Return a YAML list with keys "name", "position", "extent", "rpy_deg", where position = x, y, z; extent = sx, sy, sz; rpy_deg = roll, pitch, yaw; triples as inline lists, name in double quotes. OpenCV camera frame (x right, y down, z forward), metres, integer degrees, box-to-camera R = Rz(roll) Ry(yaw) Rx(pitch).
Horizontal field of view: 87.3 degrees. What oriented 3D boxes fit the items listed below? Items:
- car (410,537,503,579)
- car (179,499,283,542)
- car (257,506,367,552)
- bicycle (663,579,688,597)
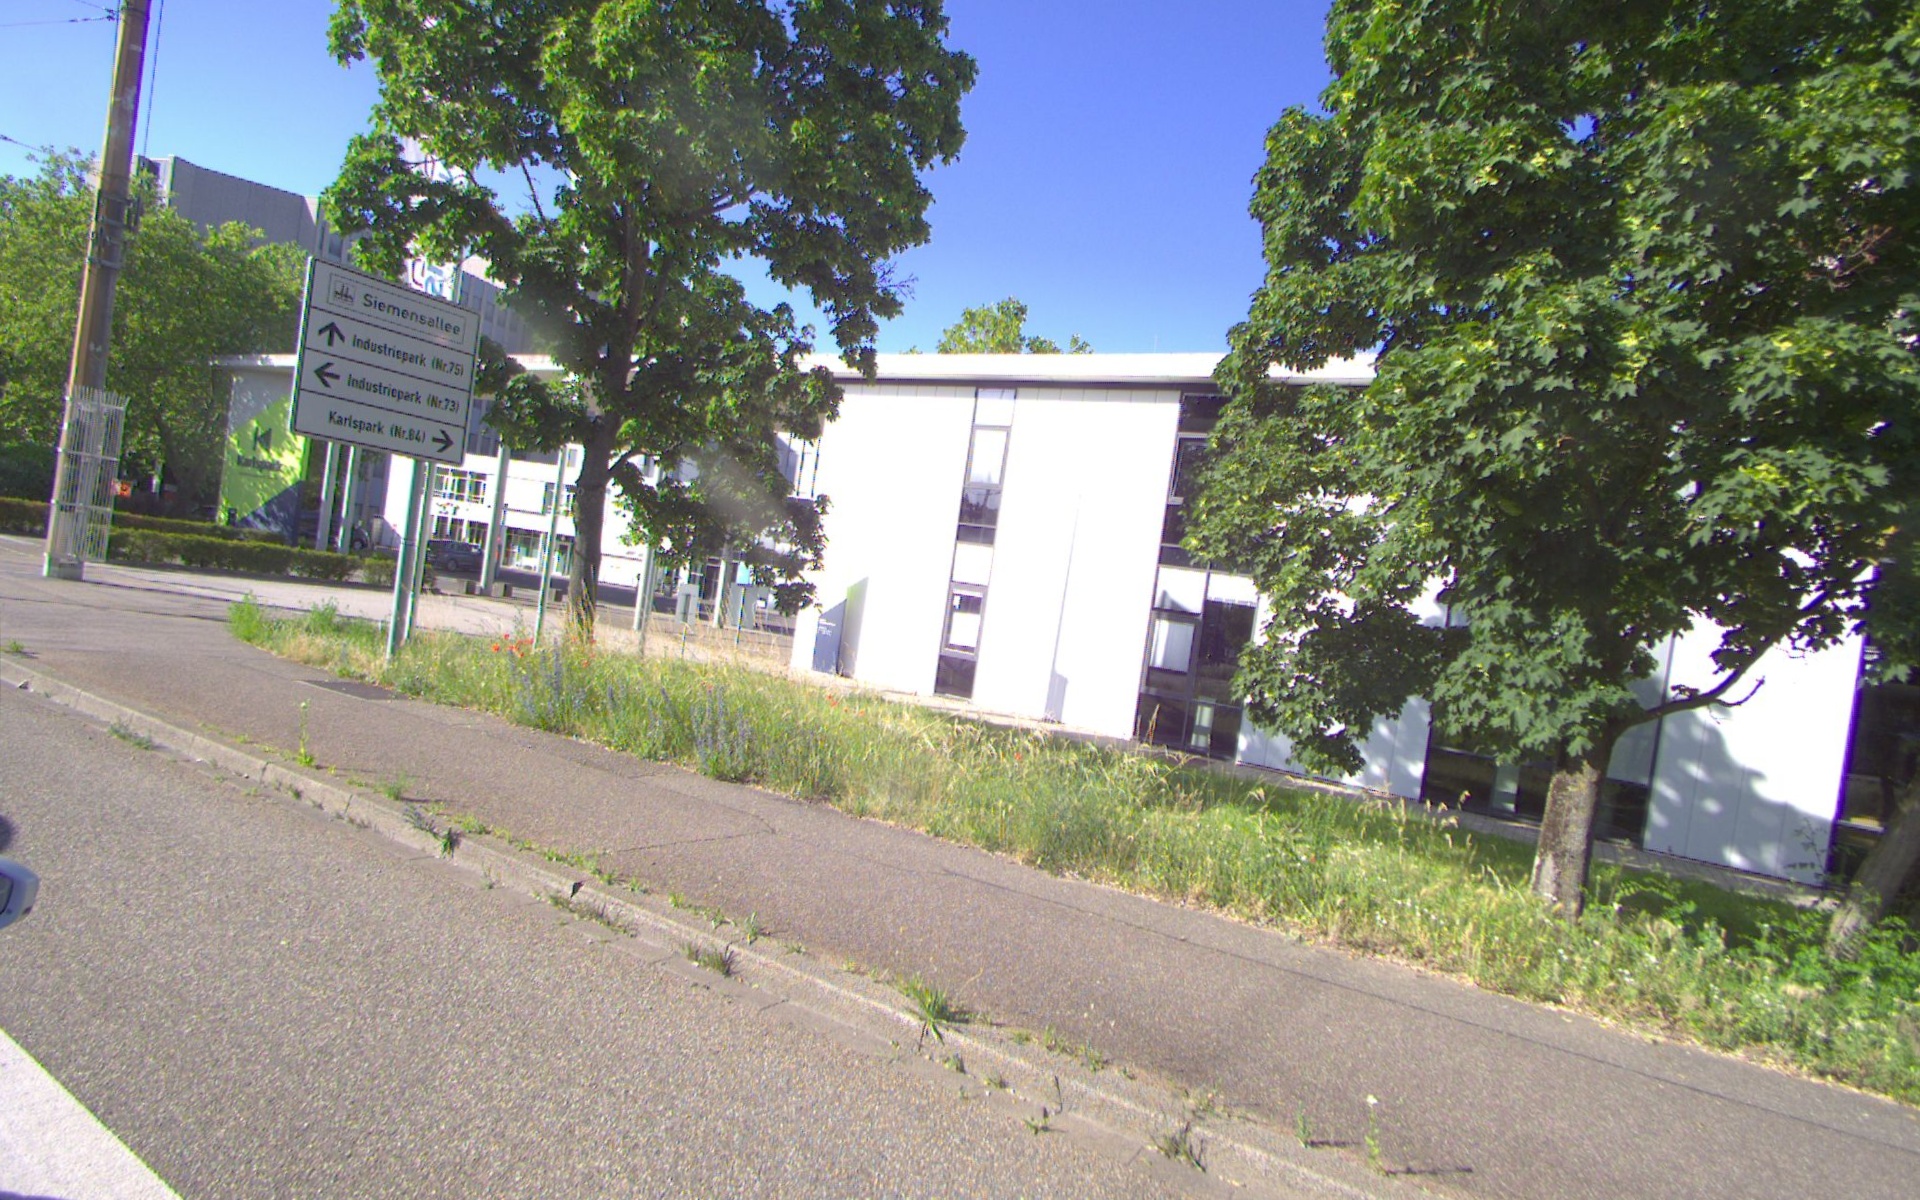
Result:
- name: "car"
  position: [-26.679, -2.208, 53.448]
  extent: [1.918, 1.597, 4.000]
  rpy_deg: [8, -1, 23]
- name: "car"
  position: [-42.656, -4.638, 58.965]
  extent: [1.861, 1.706, 4.468]
  rpy_deg: [8, -1, 26]
- name: "car"
  position: [-36.281, -3.952, 56.505]
  extent: [2.052, 1.778, 4.900]
  rpy_deg: [8, -1, 17]
- name: "bicycle"
  position: [-20.260, -0.860, 71.665]
  extent: [1.591, 1.016, 0.566]
  rpy_deg: [8, 0, 17]
